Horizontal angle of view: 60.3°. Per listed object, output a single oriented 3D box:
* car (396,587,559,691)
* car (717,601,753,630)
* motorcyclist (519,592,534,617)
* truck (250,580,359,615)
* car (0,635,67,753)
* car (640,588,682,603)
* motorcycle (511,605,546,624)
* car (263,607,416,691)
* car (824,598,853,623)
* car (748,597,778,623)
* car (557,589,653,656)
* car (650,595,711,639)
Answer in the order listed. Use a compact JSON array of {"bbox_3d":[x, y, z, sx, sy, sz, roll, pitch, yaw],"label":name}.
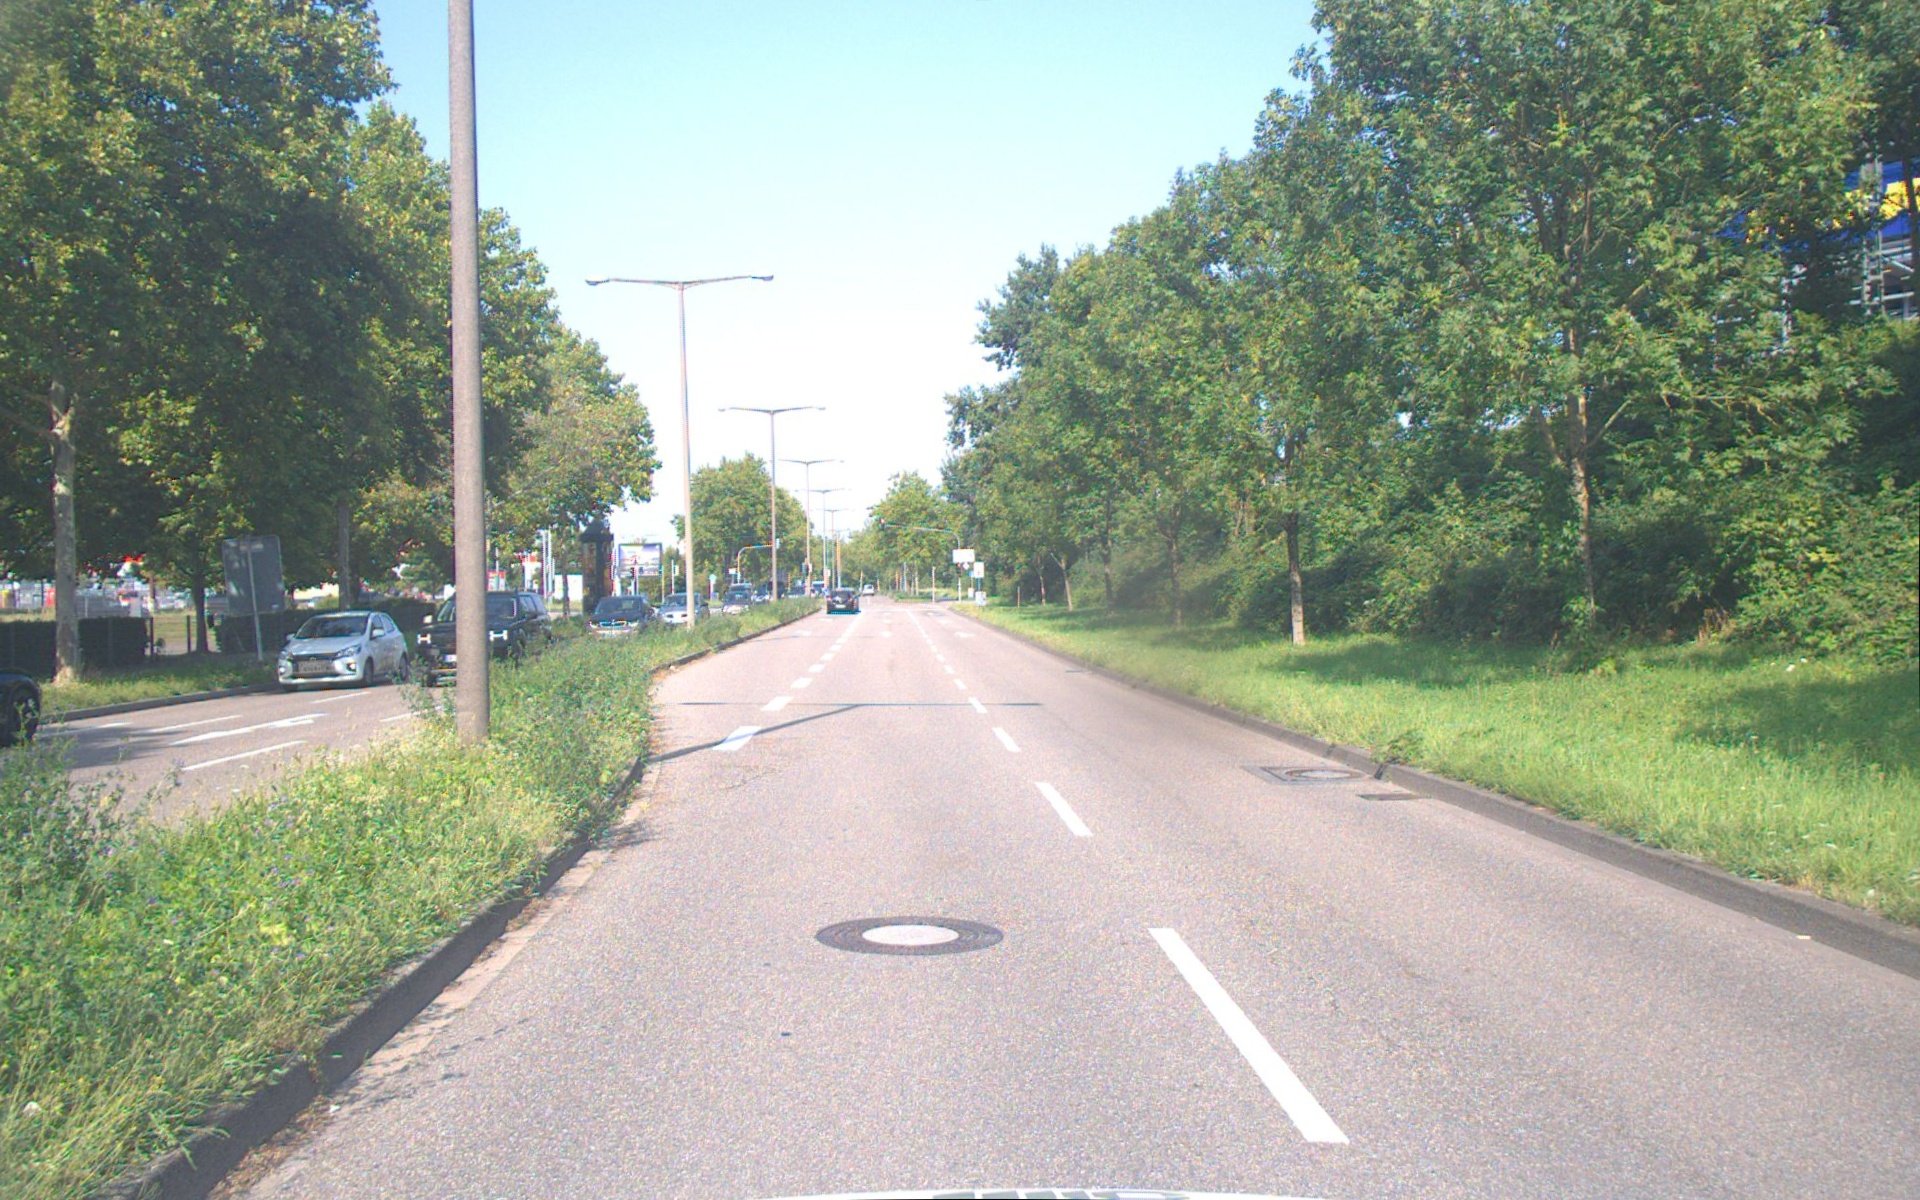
[{"bbox_3d":[-9.305,0.704,32.306,1.954,1.790,4.475,-3,0,-2],"label":"car"},{"bbox_3d":[-12.028,0.821,88.635,1.643,1.512,3.490,0,0,-3],"label":"car"},{"bbox_3d":[-27.750,0.300,105.900,0.677,1.599,0.674,0,0,-39],"label":"motorcyclist"},{"bbox_3d":[-61.539,-0.273,155.378,8.926,3.009,3.465,-2,0,-39],"label":"truck"},{"bbox_3d":[-11.602,1.105,17.791,1.754,1.285,4.094,-2,0,-1],"label":"car"},{"bbox_3d":[-25.994,-0.382,143.783,3.303,1.156,1.494,-2,0,5],"label":"car"},{"bbox_3d":[-27.645,0.917,105.985,2.055,1.156,0.668,-1,0,-39],"label":"motorcycle"},{"bbox_3d":[-12.368,0.932,33.230,1.755,1.508,3.997,-1,0,-4],"label":"car"},{"bbox_3d":[-7.406,0.625,101.025,1.658,1.512,3.998,-1,0,-3],"label":"car"},{"bbox_3d":[-16.118,0.802,135.384,1.957,1.733,4.500,-9,1,-4],"label":"car"},{"bbox_3d":[-10.319,0.628,48.362,1.954,1.790,4.305,-3,0,-2],"label":"car"},{"bbox_3d":[-11.000,0.638,65.303,1.842,1.621,4.106,-1,0,-3],"label":"car"}]
